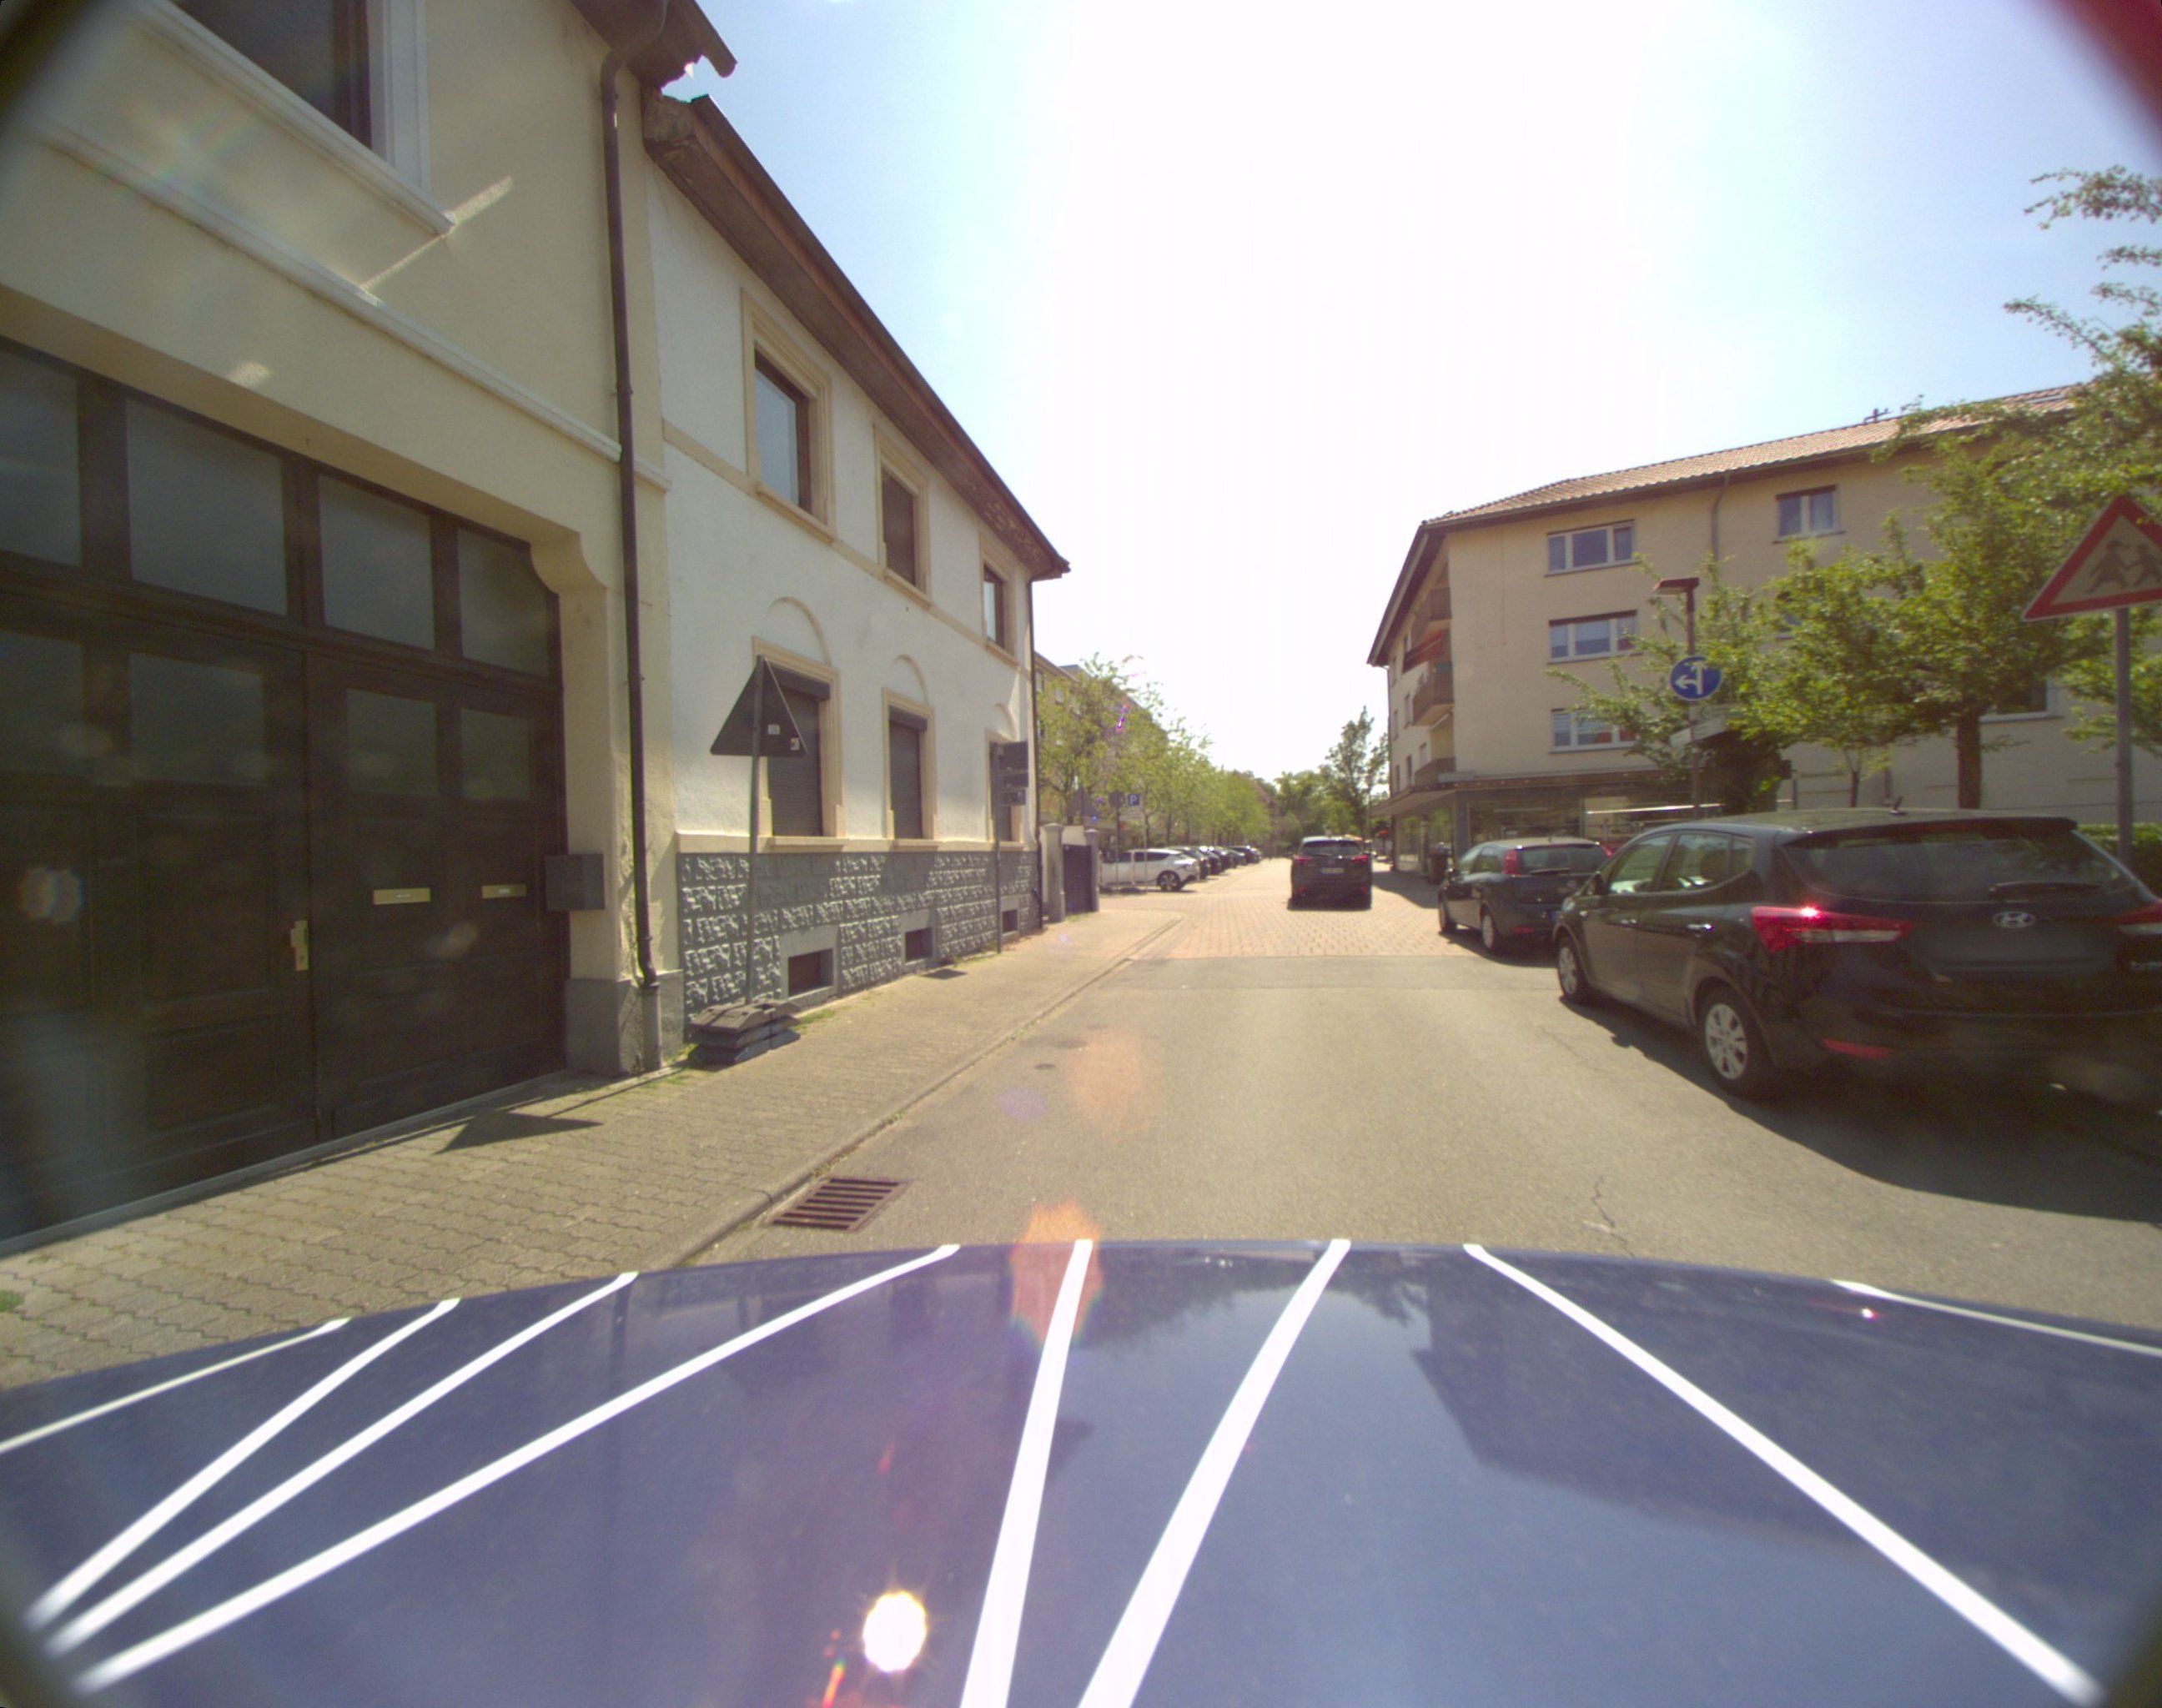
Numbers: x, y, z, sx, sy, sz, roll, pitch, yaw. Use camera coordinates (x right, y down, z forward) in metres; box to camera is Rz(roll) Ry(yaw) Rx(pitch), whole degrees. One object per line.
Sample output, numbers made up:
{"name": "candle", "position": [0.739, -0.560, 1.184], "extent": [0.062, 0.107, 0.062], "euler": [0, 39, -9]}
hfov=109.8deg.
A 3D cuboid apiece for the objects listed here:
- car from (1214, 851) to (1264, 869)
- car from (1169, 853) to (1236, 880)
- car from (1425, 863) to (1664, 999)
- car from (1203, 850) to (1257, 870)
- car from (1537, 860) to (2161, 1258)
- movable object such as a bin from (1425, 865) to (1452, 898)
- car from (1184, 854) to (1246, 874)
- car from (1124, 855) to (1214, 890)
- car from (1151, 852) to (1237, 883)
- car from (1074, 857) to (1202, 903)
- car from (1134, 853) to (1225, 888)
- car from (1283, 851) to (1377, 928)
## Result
{"name": "car", "position": [15.618, 0.589, 75.026], "extent": [4.580, 1.534, 1.809], "euler": [-2, 0, 17]}
{"name": "car", "position": [7.641, 0.788, 47.740], "extent": [4.032, 1.603, 1.683], "euler": [0, 1, 15]}
{"name": "car", "position": [6.266, 0.931, 10.799], "extent": [1.705, 1.488, 3.860], "euler": [-2, 0, 12]}
{"name": "car", "position": [12.282, 0.515, 62.656], "extent": [4.249, 1.608, 1.759], "euler": [0, 1, 16]}
{"name": "car", "position": [4.764, 0.899, 5.241], "extent": [1.817, 1.595, 4.029], "euler": [-2, 0, 17]}
{"name": "movable object such as a bin", "position": [12.124, 0.924, 25.771], "extent": [0.656, 1.064, 0.664], "euler": [-3, 1, 10]}
{"name": "car", "position": [10.247, 0.756, 58.315], "extent": [4.384, 1.455, 1.890], "euler": [0, 1, -2]}
{"name": "car", "position": [4.132, 0.839, 35.421], "extent": [3.949, 1.525, 1.826], "euler": [0, 1, 15]}
{"name": "car", "position": [6.403, 0.707, 42.955], "extent": [4.512, 1.579, 1.853], "euler": [1, 2, 19]}
{"name": "car", "position": [2.125, 0.917, 28.221], "extent": [4.445, 1.567, 1.791], "euler": [0, 1, 17]}
{"name": "car", "position": [4.968, 0.794, 38.072], "extent": [4.285, 1.671, 2.003], "euler": [-1, 1, 14]}
{"name": "car", "position": [6.123, 0.787, 19.103], "extent": [1.884, 1.659, 4.157], "euler": [0, 1, 13]}
